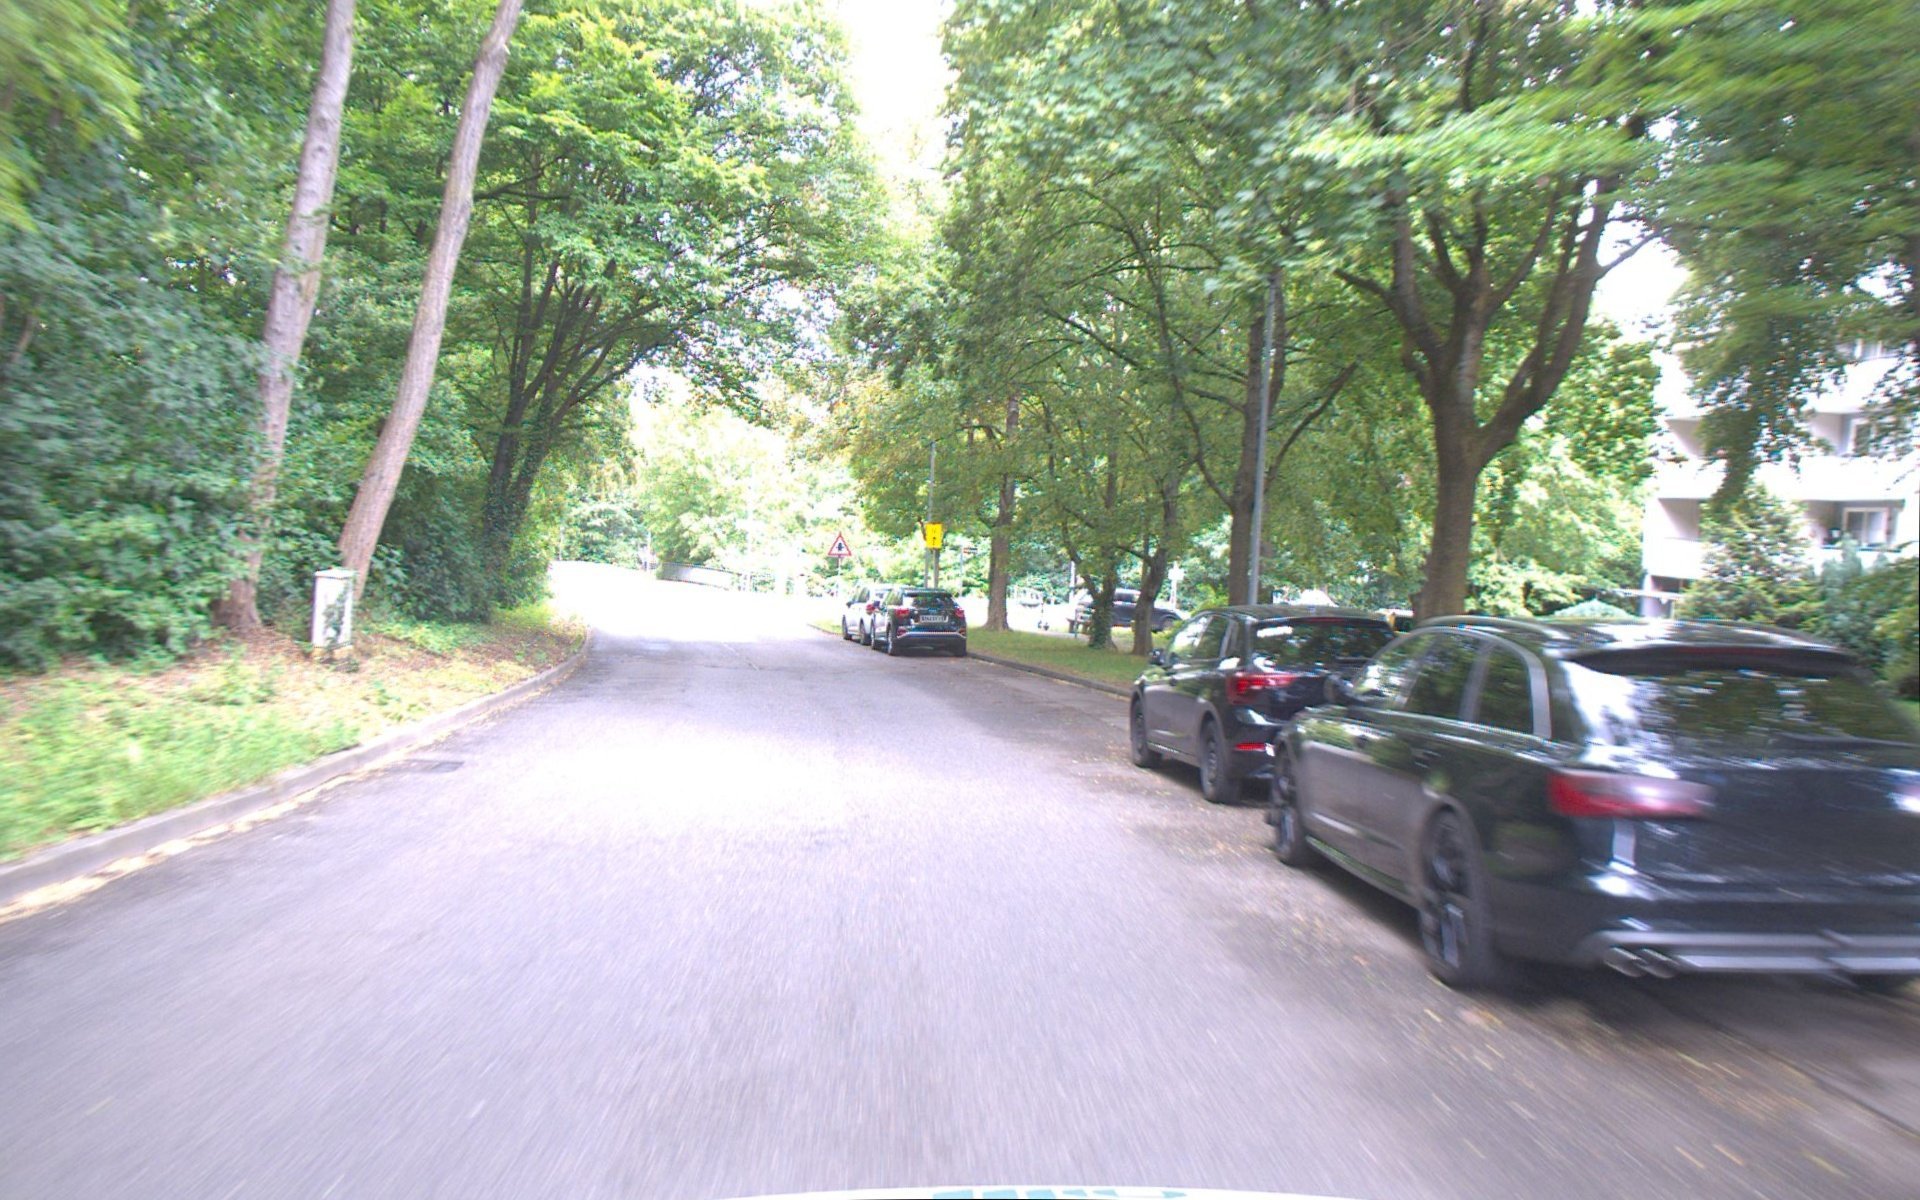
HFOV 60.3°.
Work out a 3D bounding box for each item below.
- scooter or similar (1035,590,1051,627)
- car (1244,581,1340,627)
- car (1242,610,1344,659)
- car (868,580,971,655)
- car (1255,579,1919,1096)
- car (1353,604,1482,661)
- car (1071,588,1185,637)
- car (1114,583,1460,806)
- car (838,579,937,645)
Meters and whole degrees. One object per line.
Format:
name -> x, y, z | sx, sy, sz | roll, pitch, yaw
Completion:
scooter or similar -> 3.042, 0.306, 60.670 | 0.277, 1.309, 1.105 | 3, 1, -10
car -> 16.306, 0.197, 81.335 | 4.127, 2.048, 1.997 | 2, 1, -8
car -> 12.589, 1.310, 62.671 | 3.445, 1.597, 1.832 | 3, 1, 0
car -> -1.002, 0.367, 38.657 | 1.742, 1.549, 4.173 | 2, 1, -10
car -> 2.807, 0.761, 7.772 | 1.874, 1.640, 4.734 | 2, 1, -1
car -> 17.395, 1.234, 63.033 | 4.310, 1.880, 1.831 | 3, 1, -4
car -> 6.596, 0.474, 65.136 | 4.139, 1.715, 1.797 | 2, 1, -5
car -> 2.485, 0.650, 13.545 | 1.650, 1.490, 3.893 | 2, 1, -6
car -> -1.930, 0.276, 42.962 | 1.745, 1.549, 3.765 | 2, 1, -16
